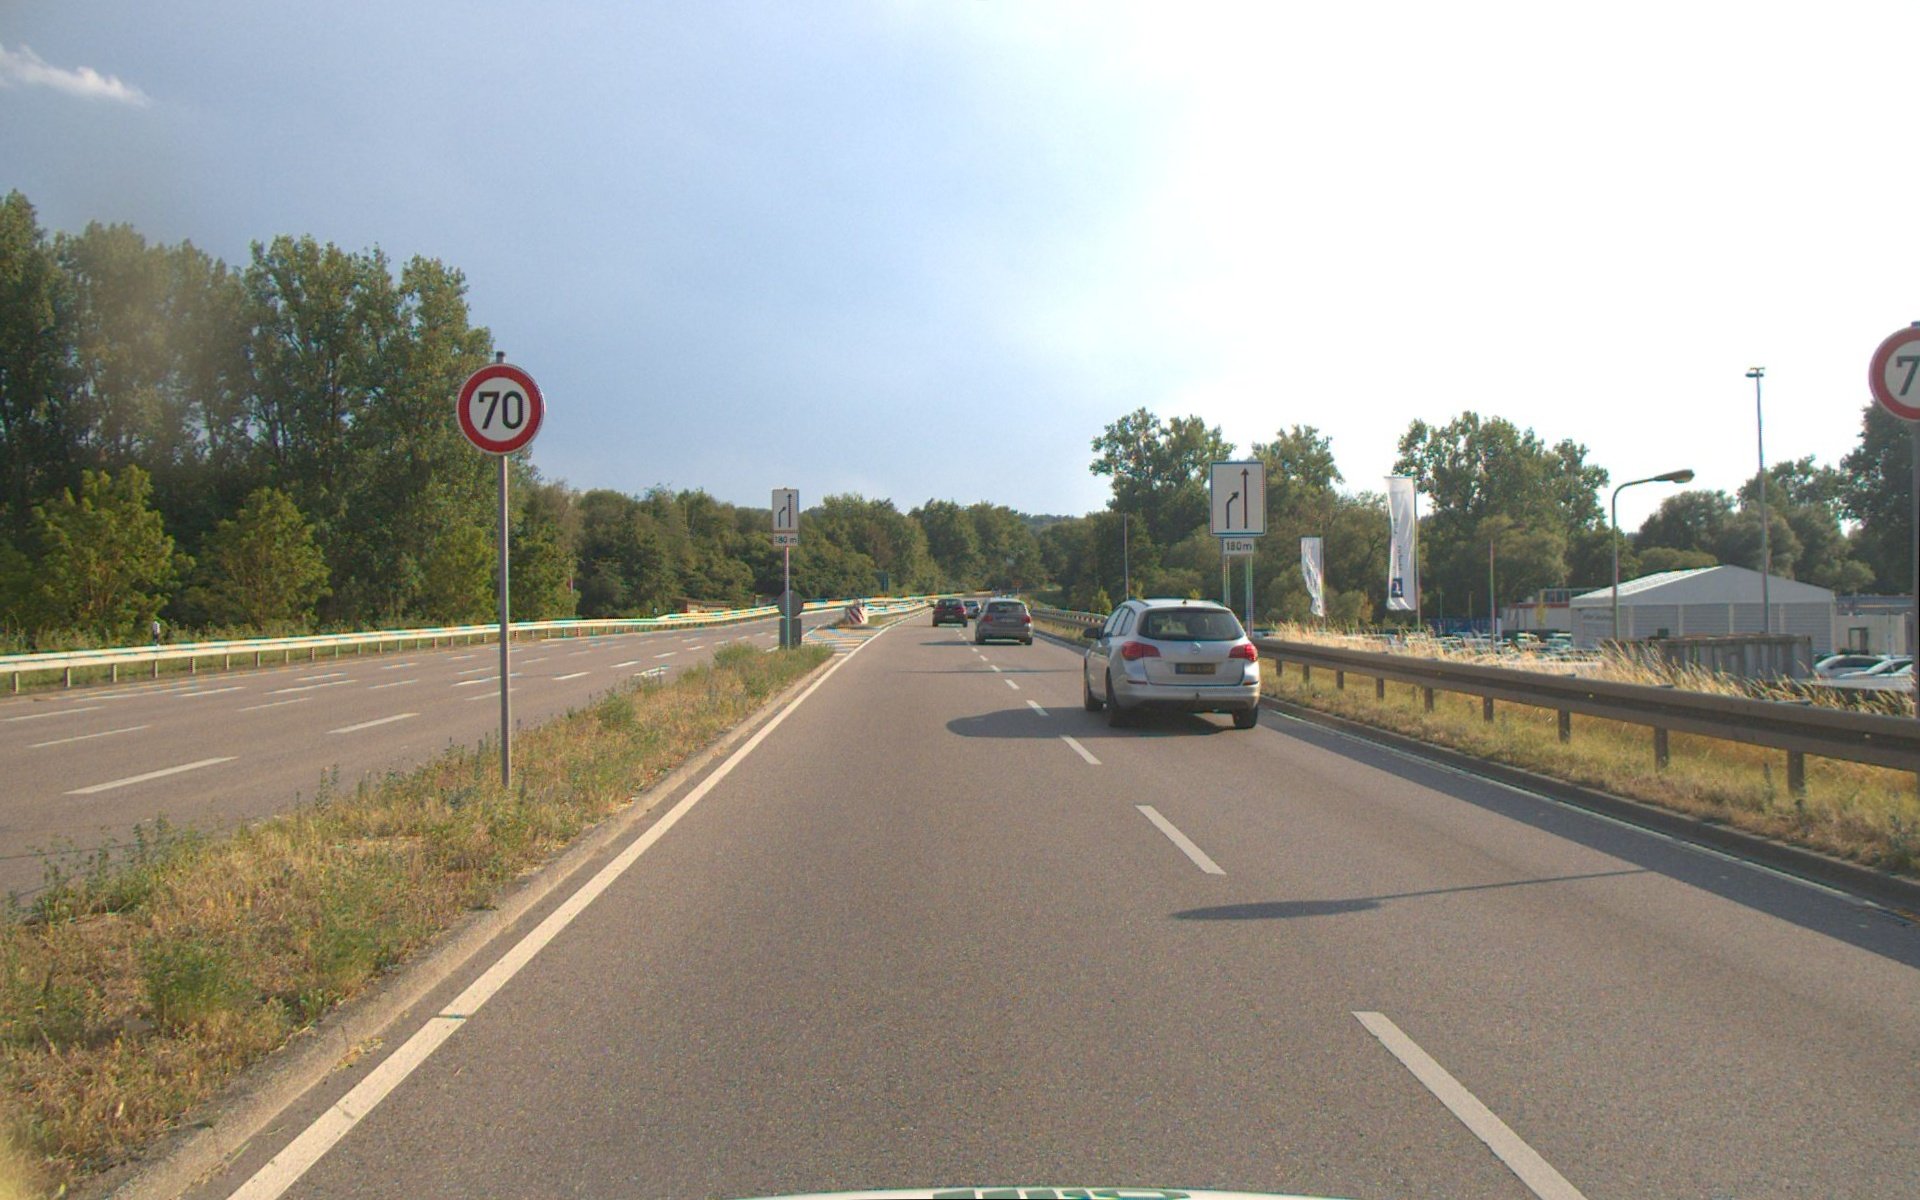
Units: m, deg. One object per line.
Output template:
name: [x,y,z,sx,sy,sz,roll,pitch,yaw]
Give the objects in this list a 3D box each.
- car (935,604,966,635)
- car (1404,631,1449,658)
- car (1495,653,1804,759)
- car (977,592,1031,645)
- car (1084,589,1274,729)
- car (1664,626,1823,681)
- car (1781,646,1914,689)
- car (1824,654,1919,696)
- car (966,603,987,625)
car: [-0.459,0.976,82.501,1.462,1.502,3.358,1,-1,0]
car: [29.986,2.863,106.476,1.840,1.665,4.731,1,-1,4]
car: [14.638,2.231,35.343,5.759,2.049,2.000,1,-1,2]
car: [1.371,0.594,52.865,1.633,1.601,4.000,1,-1,0]
car: [2.576,0.685,20.315,1.772,1.512,3.999,1,-1,0]
car: [25.540,1.728,54.012,4.324,1.744,1.802,0,-1,7]
car: [35.387,2.688,66.015,4.324,1.570,1.802,1,-1,7]
car: [33.096,2.642,58.303,4.324,1.393,1.802,1,-1,7]
car: [1.145,1.025,116.897,1.462,1.502,3.358,1,-1,0]
